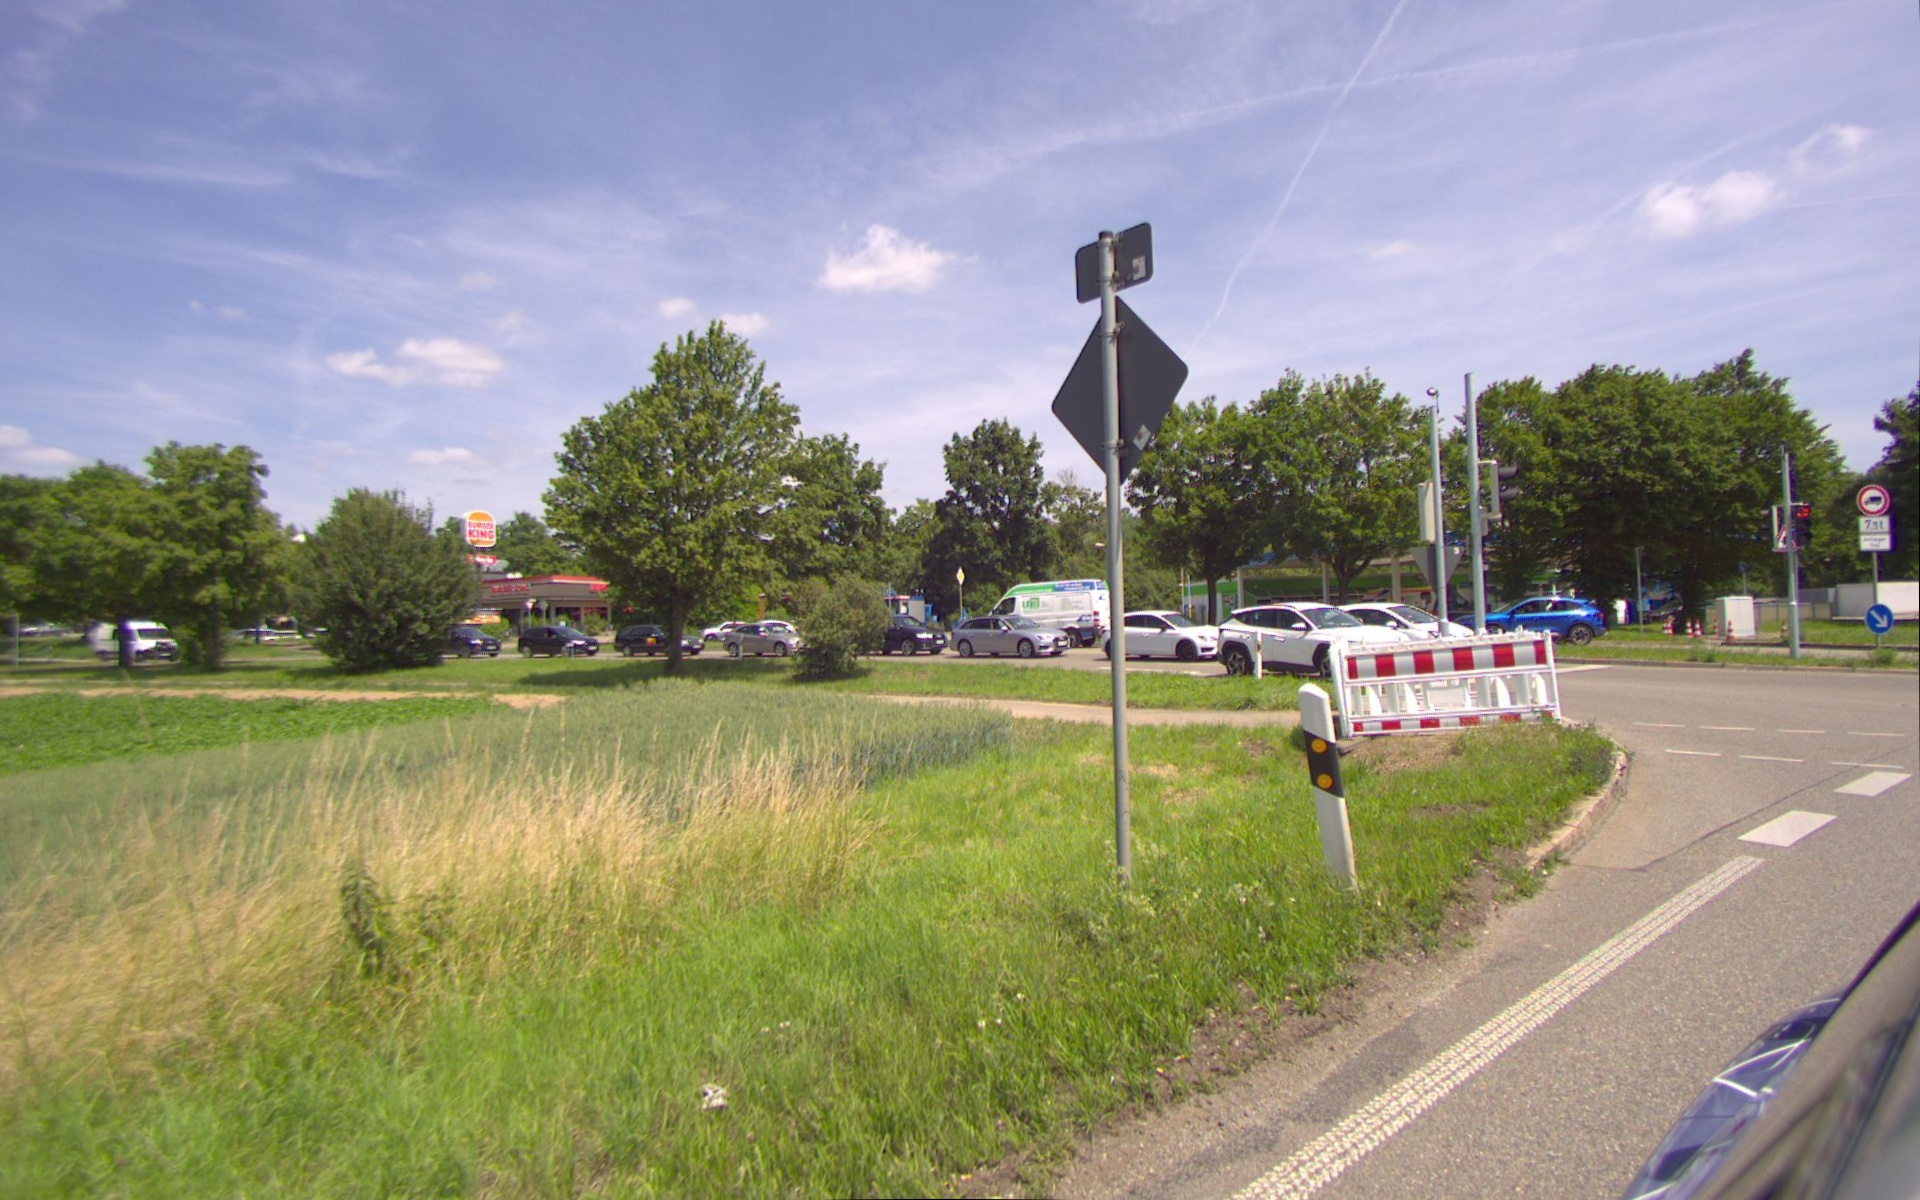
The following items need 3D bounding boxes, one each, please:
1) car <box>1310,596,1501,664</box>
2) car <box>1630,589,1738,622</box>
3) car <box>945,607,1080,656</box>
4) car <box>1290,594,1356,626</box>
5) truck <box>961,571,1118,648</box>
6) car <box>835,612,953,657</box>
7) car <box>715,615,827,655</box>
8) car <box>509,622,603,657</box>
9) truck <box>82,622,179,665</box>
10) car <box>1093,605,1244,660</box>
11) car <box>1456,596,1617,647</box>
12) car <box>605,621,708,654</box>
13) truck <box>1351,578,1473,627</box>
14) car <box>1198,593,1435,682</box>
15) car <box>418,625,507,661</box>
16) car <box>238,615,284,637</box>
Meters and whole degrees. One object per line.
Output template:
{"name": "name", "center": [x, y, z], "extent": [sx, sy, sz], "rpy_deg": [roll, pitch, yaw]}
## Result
{"name": "car", "center": [10.716, 0.684, 24.623], "extent": [1.791, 1.437, 3.977], "rpy_deg": [-2, 0, -28]}
{"name": "car", "center": [40.102, 0.279, 56.113], "extent": [4.540, 1.642, 2.001], "rpy_deg": [-2, 1, -2]}
{"name": "car", "center": [1.756, 1.101, 34.831], "extent": [4.544, 1.529, 1.773], "rpy_deg": [-3, 0, 43]}
{"name": "car", "center": [24.475, 0.671, 68.247], "extent": [3.784, 2.039, 1.715], "rpy_deg": [-1, 0, -8]}
{"name": "truck", "center": [3.190, 0.392, 40.810], "extent": [5.879, 2.771, 2.056], "rpy_deg": [-3, 0, 25]}
{"name": "car", "center": [-2.612, 1.363, 39.311], "extent": [4.537, 1.529, 1.776], "rpy_deg": [-4, -1, 39]}
{"name": "car", "center": [-7.883, 1.471, 42.113], "extent": [4.525, 1.529, 1.781], "rpy_deg": [-2, 0, 32]}
{"name": "car", "center": [-19.521, 1.906, 48.856], "extent": [4.185, 1.529, 1.787], "rpy_deg": [-2, 0, 24]}
{"name": "truck", "center": [-50.826, 2.649, 62.010], "extent": [5.567, 2.396, 2.040], "rpy_deg": [-2, 0, 20]}
{"name": "car", "center": [6.097, 0.909, 29.858], "extent": [1.771, 1.437, 4.097], "rpy_deg": [-2, 1, -42]}
{"name": "car", "center": [19.417, 0.725, 34.262], "extent": [4.320, 1.578, 1.777], "rpy_deg": [-2, -1, 13]}
{"name": "car", "center": [-13.805, 1.700, 45.999], "extent": [4.515, 1.289, 1.785], "rpy_deg": [-2, 0, 26]}
{"name": "truck", "center": [26.490, 0.128, 59.448], "extent": [6.028, 2.652, 2.264], "rpy_deg": [-2, -1, -3]}
{"name": "car", "center": [7.544, 0.775, 21.941], "extent": [1.959, 1.627, 4.645], "rpy_deg": [-3, 0, -29]}
{"name": "car", "center": [-25.831, 2.231, 52.572], "extent": [4.248, 1.719, 1.982], "rpy_deg": [-2, 0, 26]}
{"name": "car", "center": [-63.362, 2.369, 91.770], "extent": [3.962, 1.847, 1.805], "rpy_deg": [-2, 0, 28]}
